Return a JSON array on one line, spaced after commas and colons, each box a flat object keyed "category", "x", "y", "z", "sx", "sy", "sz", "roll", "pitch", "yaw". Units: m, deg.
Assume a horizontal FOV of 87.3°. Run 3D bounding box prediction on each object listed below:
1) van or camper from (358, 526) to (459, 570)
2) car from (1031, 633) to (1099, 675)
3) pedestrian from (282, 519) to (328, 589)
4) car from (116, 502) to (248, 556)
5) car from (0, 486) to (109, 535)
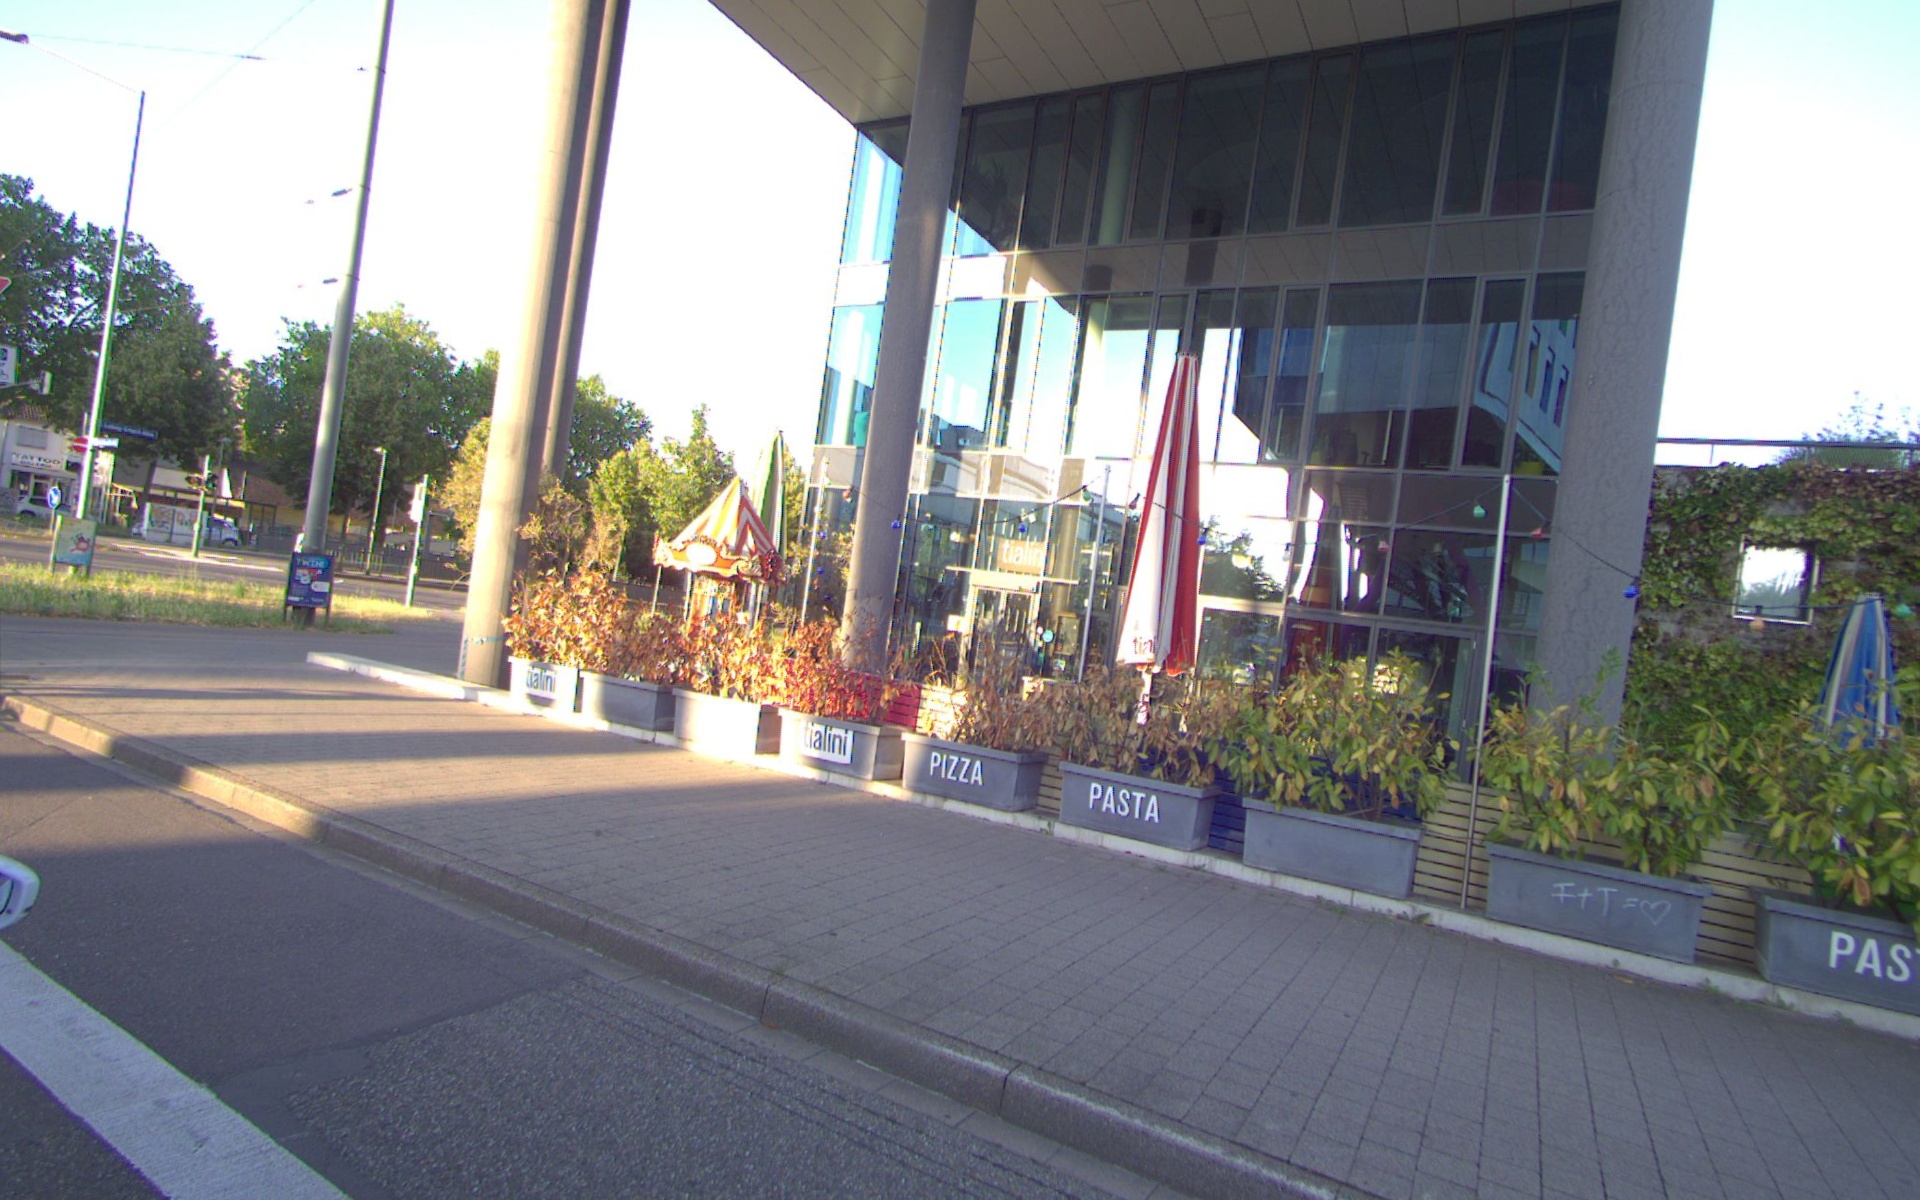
[{"category": "van or camper", "x": -43.977, "y": -4.127, "z": 80.410, "sx": 2.229, "sy": 2.437, "sz": 6.569, "roll": 7, "pitch": -2, "yaw": 36}, {"category": "car", "x": 5.870, "y": 3.022, "z": 55.812, "sx": 1.826, "sy": 1.849, "sz": 4.390, "roll": 10, "pitch": 0, "yaw": 31}, {"category": "pedestrian", "x": -18.027, "y": -1.262, "z": 27.706, "sx": 0.755, "sy": 1.811, "sz": 0.796, "roll": 8, "pitch": -1, "yaw": -28}, {"category": "car", "x": -37.321, "y": -3.381, "z": 48.386, "sx": 1.829, "sy": 1.748, "sz": 4.547, "roll": 7, "pitch": -2, "yaw": 27}, {"category": "car", "x": -50.529, "y": -4.964, "z": 56.049, "sx": 1.968, "sy": 1.868, "sz": 4.236, "roll": 7, "pitch": -2, "yaw": 34}]
